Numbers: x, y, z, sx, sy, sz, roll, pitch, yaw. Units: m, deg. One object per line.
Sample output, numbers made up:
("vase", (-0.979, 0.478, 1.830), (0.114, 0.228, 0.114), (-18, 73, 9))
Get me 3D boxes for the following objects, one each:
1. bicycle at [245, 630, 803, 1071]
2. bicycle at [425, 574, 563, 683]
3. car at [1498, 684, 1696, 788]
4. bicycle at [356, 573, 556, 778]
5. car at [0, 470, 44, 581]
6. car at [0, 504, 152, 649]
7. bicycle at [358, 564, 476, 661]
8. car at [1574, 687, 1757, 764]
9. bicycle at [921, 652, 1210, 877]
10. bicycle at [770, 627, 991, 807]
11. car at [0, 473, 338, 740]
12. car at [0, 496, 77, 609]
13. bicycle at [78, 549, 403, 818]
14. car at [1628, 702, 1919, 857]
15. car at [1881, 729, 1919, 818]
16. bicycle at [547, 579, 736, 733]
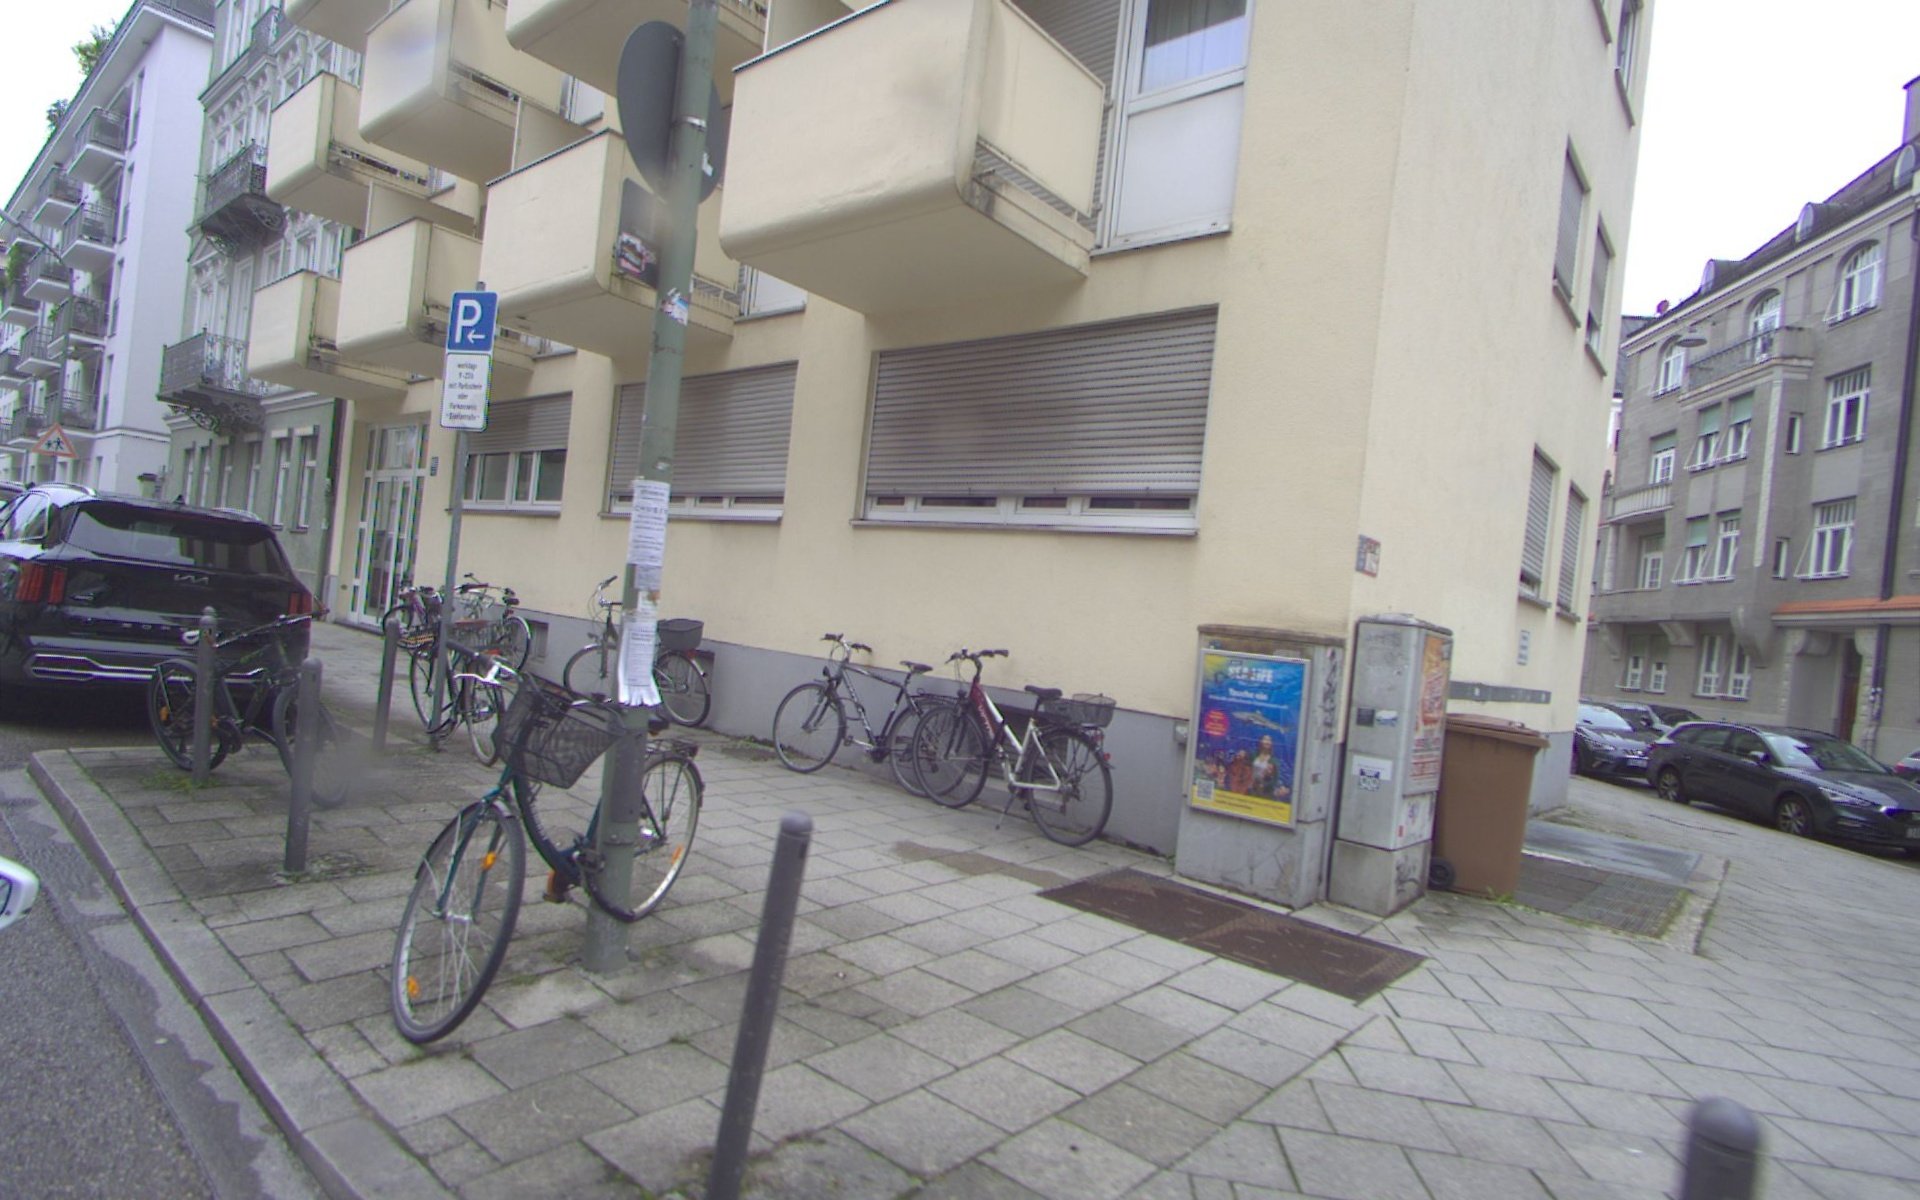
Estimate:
("bicycle", (-1.358, 0.704, 3.584), (0.761, 1.079, 1.763), (6, -1, 19))
("bicycle", (-5.430, 0.315, 11.681), (1.809, 1.067, 0.579), (5, 0, 36))
("car", (12.526, 2.621, 20.098), (1.608, 1.489, 3.857), (6, -1, 5))
("bicycle", (-3.559, 0.465, 7.003), (1.938, 1.168, 0.578), (5, 0, 45))
("car", (-19.809, -1.589, 19.843), (4.748, 1.992, 1.867), (5, -1, 40))
("car", (-11.820, -0.405, 12.631), (4.354, 1.476, 1.727), (5, -2, 41))
("bicycle", (-6.991, 0.151, 12.921), (1.735, 1.067, 0.579), (5, 0, 36))
("car", (19.628, 3.435, 28.325), (1.962, 1.466, 4.782), (7, -1, 5))
("bicycle", (0.605, 0.955, 6.323), (1.740, 1.067, 0.578), (5, 0, 45))
("bicycle", (-0.644, 0.824, 7.558), (1.740, 1.067, 0.578), (5, 0, 45))
("car", (-7.081, -0.035, 8.381), (4.486, 1.659, 1.847), (5, -1, 40))
("car", (-15.699, -0.879, 15.903), (4.686, 1.570, 1.857), (5, -1, 40))
("bicycle", (-3.963, 0.395, 5.494), (1.929, 1.168, 0.580), (6, 0, 28))
("car", (12.080, 2.495, 14.745), (1.666, 1.489, 4.613), (6, -1, 5))
("car", (18.176, 3.234, 16.699), (1.727, 1.533, 4.711), (6, -1, 7))
("bicycle", (-3.000, 0.495, 9.415), (1.735, 1.221, 0.687), (5, 0, 35))
